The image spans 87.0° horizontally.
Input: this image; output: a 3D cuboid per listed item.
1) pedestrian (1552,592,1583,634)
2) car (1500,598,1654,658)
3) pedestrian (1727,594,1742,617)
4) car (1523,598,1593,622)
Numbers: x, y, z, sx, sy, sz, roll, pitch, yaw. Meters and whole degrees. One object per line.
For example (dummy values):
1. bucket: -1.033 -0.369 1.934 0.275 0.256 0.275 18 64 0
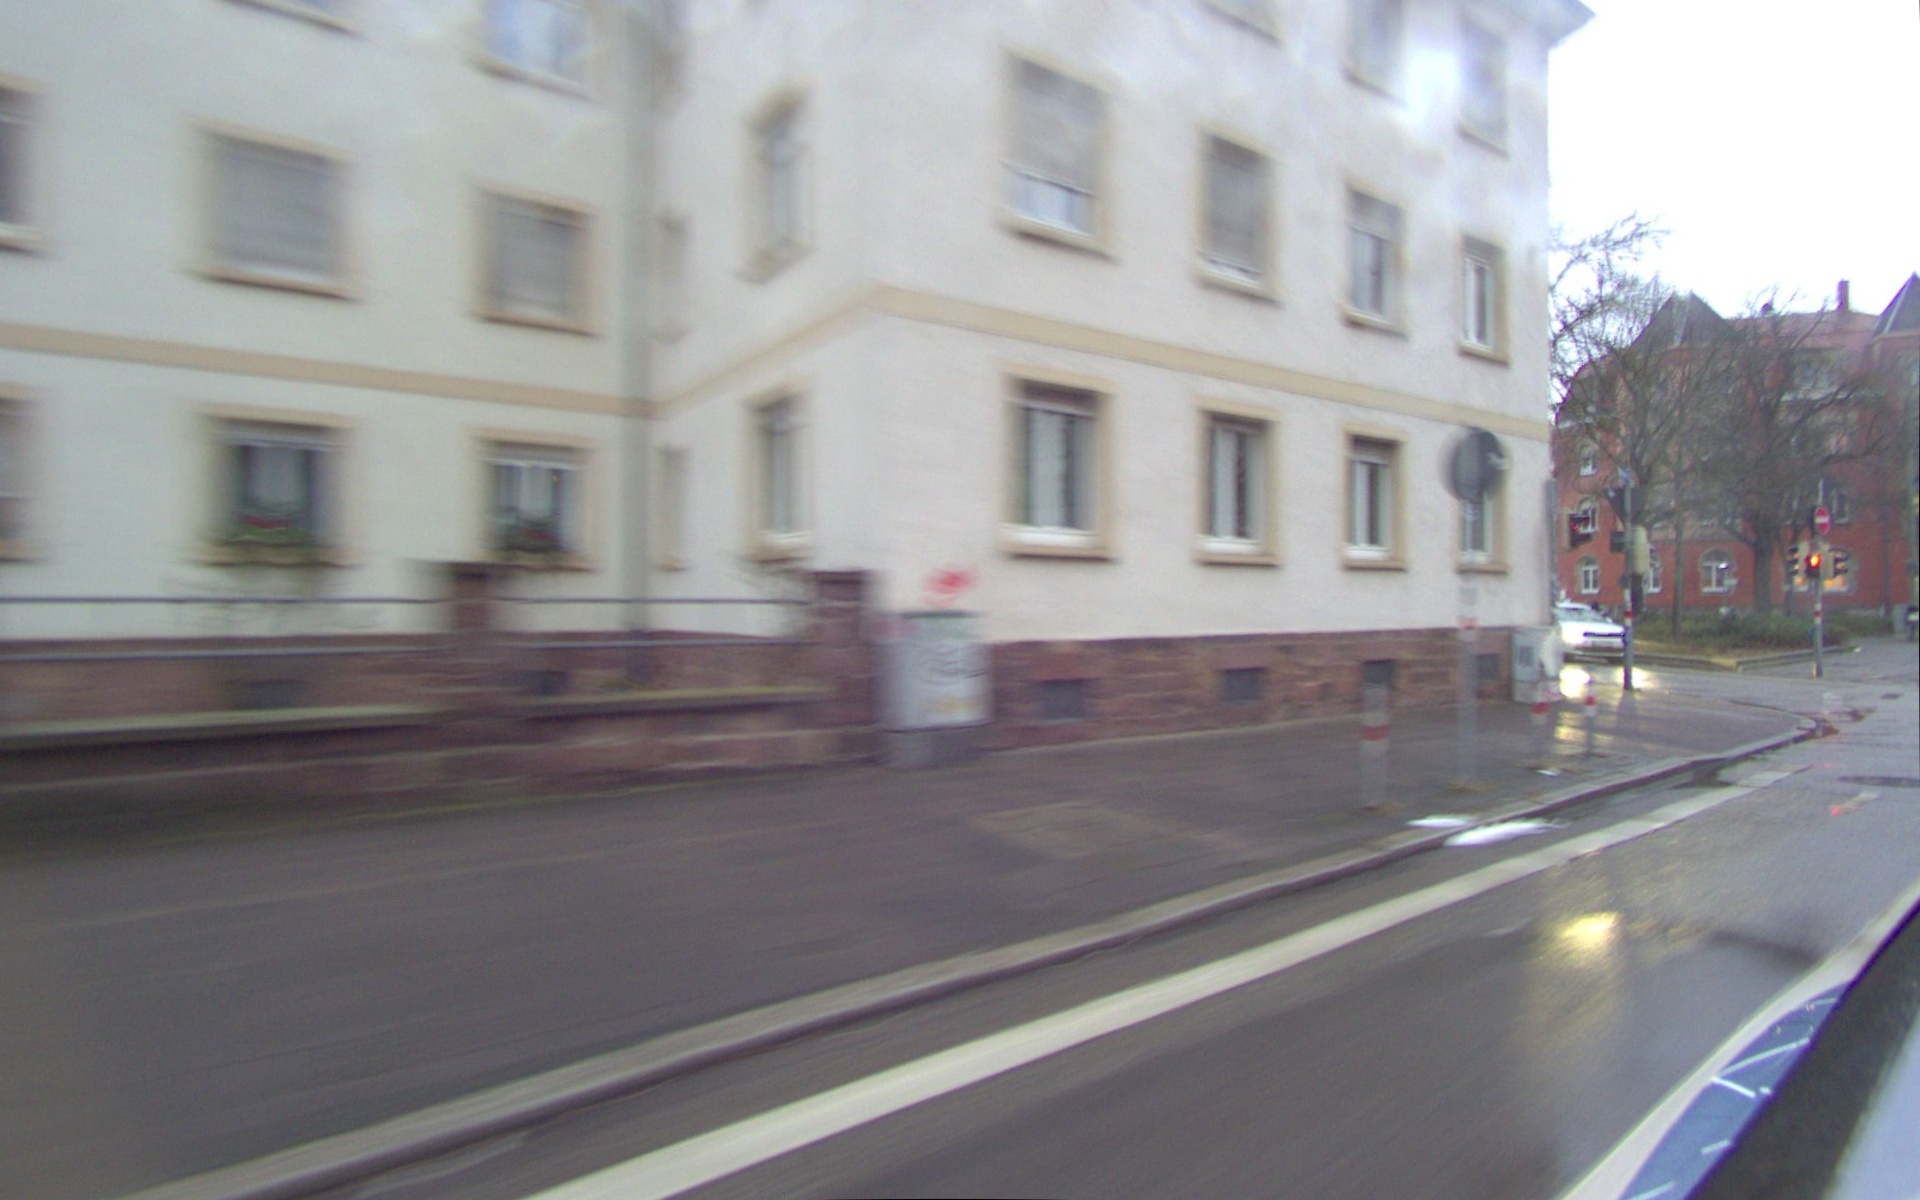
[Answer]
1. pedestrian: 27.808 0.591 46.343 0.798 1.888 0.879 -1 -1 -7
2. car: 17.319 0.729 28.713 1.867 1.529 4.745 -1 0 7
3. pedestrian: 44.163 0.317 57.713 0.545 1.334 0.599 -4 -4 44
4. car: 39.514 0.660 66.998 1.613 1.515 4.007 -1 -1 -14
